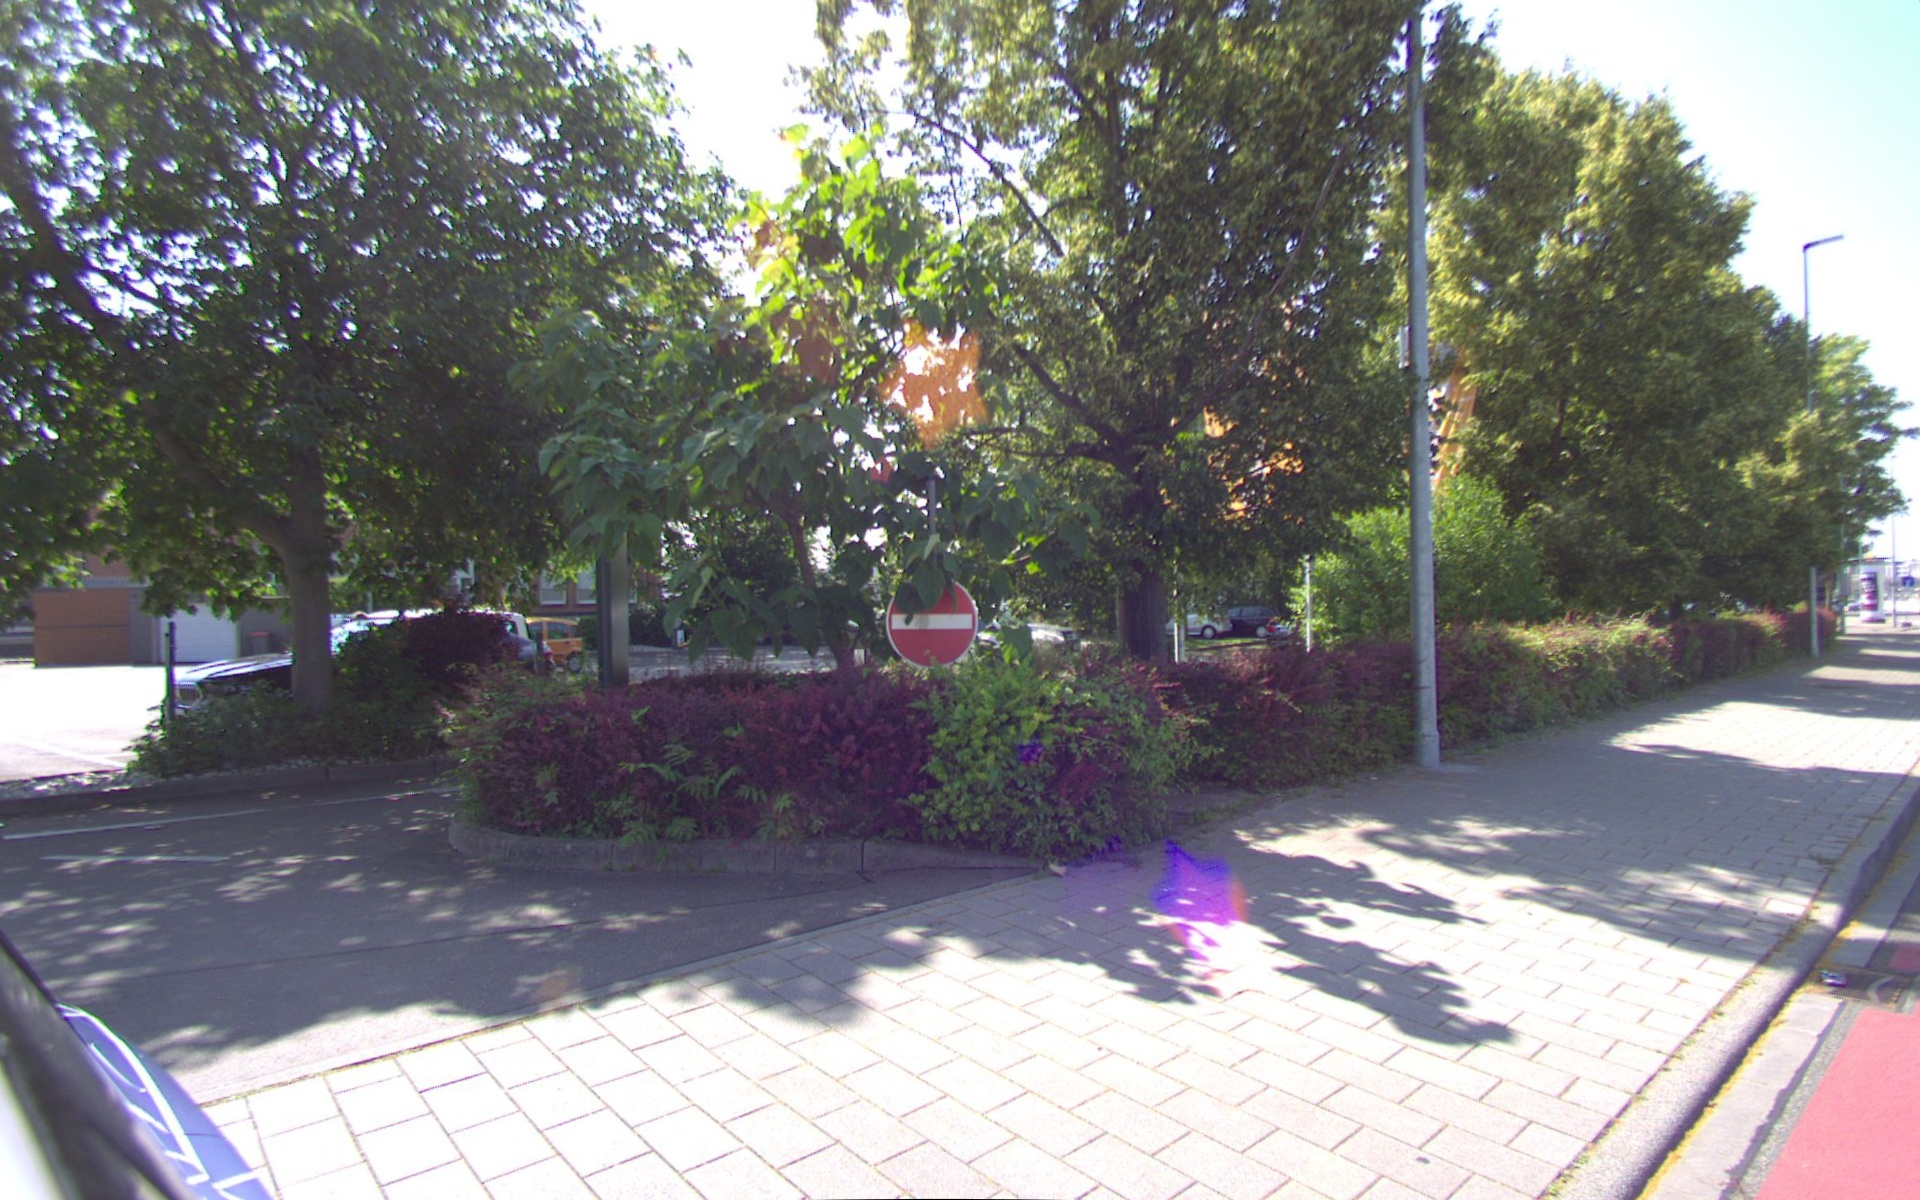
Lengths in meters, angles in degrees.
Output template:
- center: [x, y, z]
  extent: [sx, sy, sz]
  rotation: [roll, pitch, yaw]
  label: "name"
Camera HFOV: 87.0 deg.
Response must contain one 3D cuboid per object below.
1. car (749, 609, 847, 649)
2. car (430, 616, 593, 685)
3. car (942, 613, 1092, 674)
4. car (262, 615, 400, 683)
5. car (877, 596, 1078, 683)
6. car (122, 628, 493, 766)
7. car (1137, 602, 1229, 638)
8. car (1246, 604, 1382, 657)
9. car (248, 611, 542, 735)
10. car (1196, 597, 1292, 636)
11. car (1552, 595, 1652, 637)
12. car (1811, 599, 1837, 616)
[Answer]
- center: [-6.762, 1.184, 42.108]
  extent: [3.860, 1.588, 1.798]
  rotation: [0, 0, 34]
  label: "car"
- center: [-11.905, 1.286, 27.041]
  extent: [1.664, 1.644, 3.682]
  rotation: [0, 0, 33]
  label: "car"
- center: [1.600, 1.176, 28.490]
  extent: [3.796, 1.595, 1.886]
  rotation: [0, 0, 30]
  label: "car"
- center: [-15.530, 1.149, 24.955]
  extent: [3.603, 1.543, 1.602]
  rotation: [0, 0, 34]
  label: "car"
- center: [0.377, 0.885, 23.304]
  extent: [4.334, 1.841, 1.732]
  rotation: [-1, 0, 28]
  label: "car"
- center: [-8.531, 1.162, 13.638]
  extent: [1.646, 1.505, 3.967]
  rotation: [-1, -1, 24]
  label: "car"
- center: [10.288, 0.923, 46.729]
  extent: [3.837, 1.600, 1.625]
  rotation: [0, 0, 32]
  label: "car"
- center: [11.391, 0.935, 32.384]
  extent: [4.954, 1.572, 2.076]
  rotation: [0, -2, -43]
  label: "car"
- center: [-9.412, 1.103, 17.256]
  extent: [1.749, 1.812, 4.194]
  rotation: [0, 0, 24]
  label: "car"
- center: [13.376, 0.755, 47.699]
  extent: [4.013, 1.745, 1.781]
  rotation: [0, 0, 34]
  label: "car"
- center: [35.542, 0.922, 56.175]
  extent: [1.861, 1.935, 4.536]
  rotation: [-3, -3, -14]
  label: "car"
- center: [85.651, 0.714, 100.348]
  extent: [1.874, 1.510, 3.977]
  rotation: [-3, -1, 41]
  label: "car"
